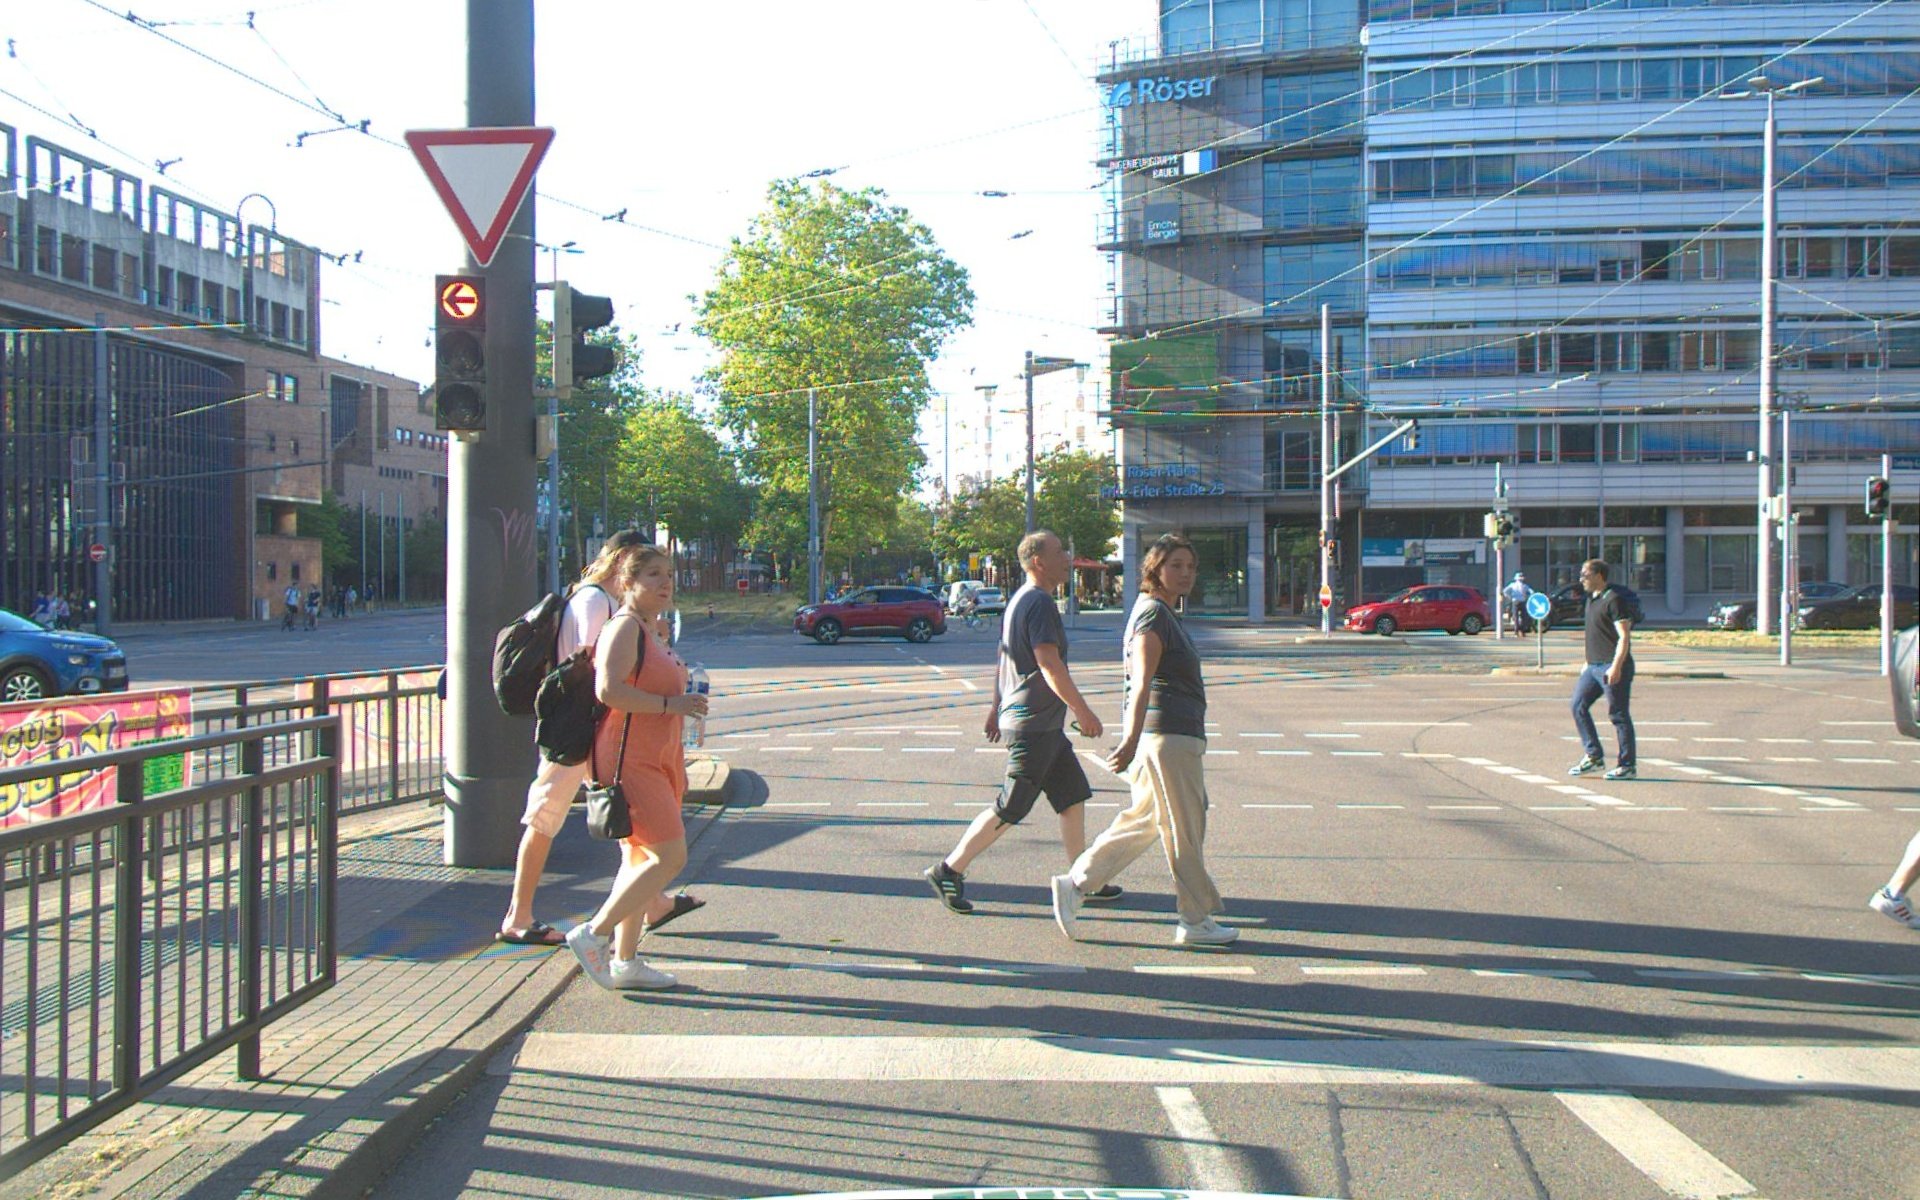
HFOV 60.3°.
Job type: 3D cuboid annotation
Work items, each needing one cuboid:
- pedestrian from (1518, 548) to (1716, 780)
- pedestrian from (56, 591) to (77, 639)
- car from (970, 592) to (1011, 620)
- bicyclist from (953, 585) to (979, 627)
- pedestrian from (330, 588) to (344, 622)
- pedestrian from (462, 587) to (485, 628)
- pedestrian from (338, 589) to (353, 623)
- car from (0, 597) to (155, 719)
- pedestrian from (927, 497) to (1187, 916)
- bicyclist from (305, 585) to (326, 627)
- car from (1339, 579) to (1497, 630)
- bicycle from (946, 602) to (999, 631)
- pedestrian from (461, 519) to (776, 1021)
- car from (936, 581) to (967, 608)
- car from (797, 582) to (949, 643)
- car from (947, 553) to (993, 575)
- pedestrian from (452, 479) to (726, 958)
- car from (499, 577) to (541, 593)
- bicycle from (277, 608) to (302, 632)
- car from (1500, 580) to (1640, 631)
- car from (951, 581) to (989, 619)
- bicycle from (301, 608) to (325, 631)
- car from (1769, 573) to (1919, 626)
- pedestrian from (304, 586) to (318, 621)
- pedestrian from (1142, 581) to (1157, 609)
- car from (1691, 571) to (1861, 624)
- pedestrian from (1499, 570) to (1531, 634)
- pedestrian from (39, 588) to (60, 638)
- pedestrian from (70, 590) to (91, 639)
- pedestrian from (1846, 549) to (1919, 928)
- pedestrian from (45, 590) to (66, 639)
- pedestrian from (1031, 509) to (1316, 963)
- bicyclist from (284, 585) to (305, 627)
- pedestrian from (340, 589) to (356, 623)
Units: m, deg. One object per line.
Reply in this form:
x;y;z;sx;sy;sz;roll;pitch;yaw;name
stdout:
5.497;0.522;13.904;1.185;1.854;1.040;1;0;-6;pedestrian
-31.845;0.527;58.958;0.528;1.679;0.622;-1;0;-20;pedestrian
1.521;0.277;84.528;1.953;1.355;3.999;-1;0;-1;car
0.205;0.196;54.473;0.803;1.390;0.400;-1;0;-5;bicyclist
-34.048;0.271;90.372;0.479;1.842;0.546;-1;0;6;pedestrian
-18.719;0.281;63.675;0.740;1.557;0.507;1;0;-8;pedestrian
-33.088;0.310;89.080;0.511;1.810;0.546;-1;0;6;pedestrian
-12.830;0.734;21.364;3.876;1.482;1.998;-1;0;-4;car
0.450;0.495;8.101;1.123;1.927;0.831;1;0;-8;pedestrian
-26.132;0.248;67.090;0.582;1.705;0.788;-1;0;-7;bicyclist
13.484;0.133;48.819;4.156;1.417;1.794;-1;0;-3;car
0.397;0.554;54.493;1.707;0.915;0.408;-1;0;-5;bicycle
-1.222;0.583;6.093;1.052;1.711;0.756;1;0;-8;pedestrian
-0.555;-0.376;106.647;1.953;1.691;3.999;-1;0;-1;car
-2.512;0.338;47.276;4.164;1.630;1.791;-1;0;-10;car
0.862;-3.087;142.977;3.681;1.780;1.783;1;0;14;car
-1.538;0.477;7.020;1.053;1.904;0.737;1;0;-8;pedestrian
-46.167;-1.612;173.669;3.948;1.579;1.589;1;0;-32;car
-27.023;0.803;66.713;0.503;0.897;1.835;-1;0;-9;bicycle
19.319;0.162;52.507;3.781;1.533;1.796;-1;0;1;car
0.520;0.002;91.350;1.953;2.026;3.999;-1;0;-1;car
-26.229;0.770;67.031;0.503;0.897;1.835;-1;0;-9;bicycle
25.078;-0.030;46.111;4.151;1.417;1.796;-1;0;4;car
-34.900;0.184;88.902;0.479;1.842;0.546;-1;0;6;pedestrian
10.050;-0.259;87.722;0.723;1.491;0.537;-1;0;8;pedestrian
24.120;-0.080;48.990;4.151;1.459;1.797;-1;0;5;car
14.936;0.055;44.545;0.704;1.711;0.557;1;0;6;pedestrian
-31.278;0.448;56.812;0.528;1.679;0.622;-1;0;-20;pedestrian
-30.691;0.496;57.743;0.528;1.679;0.622;-1;0;-20;pedestrian
4.924;0.641;7.895;1.052;1.745;0.628;1;0;-4;pedestrian
-31.823;0.509;58.188;0.528;1.679;0.622;-1;0;-20;pedestrian
0.896;0.554;7.148;1.051;1.837;0.756;1;0;-8;pedestrian
-26.874;0.233;66.822;0.582;1.705;0.788;-1;0;-7;bicyclist
-33.273;0.302;89.966;0.627;1.842;0.546;-1;0;6;pedestrian
